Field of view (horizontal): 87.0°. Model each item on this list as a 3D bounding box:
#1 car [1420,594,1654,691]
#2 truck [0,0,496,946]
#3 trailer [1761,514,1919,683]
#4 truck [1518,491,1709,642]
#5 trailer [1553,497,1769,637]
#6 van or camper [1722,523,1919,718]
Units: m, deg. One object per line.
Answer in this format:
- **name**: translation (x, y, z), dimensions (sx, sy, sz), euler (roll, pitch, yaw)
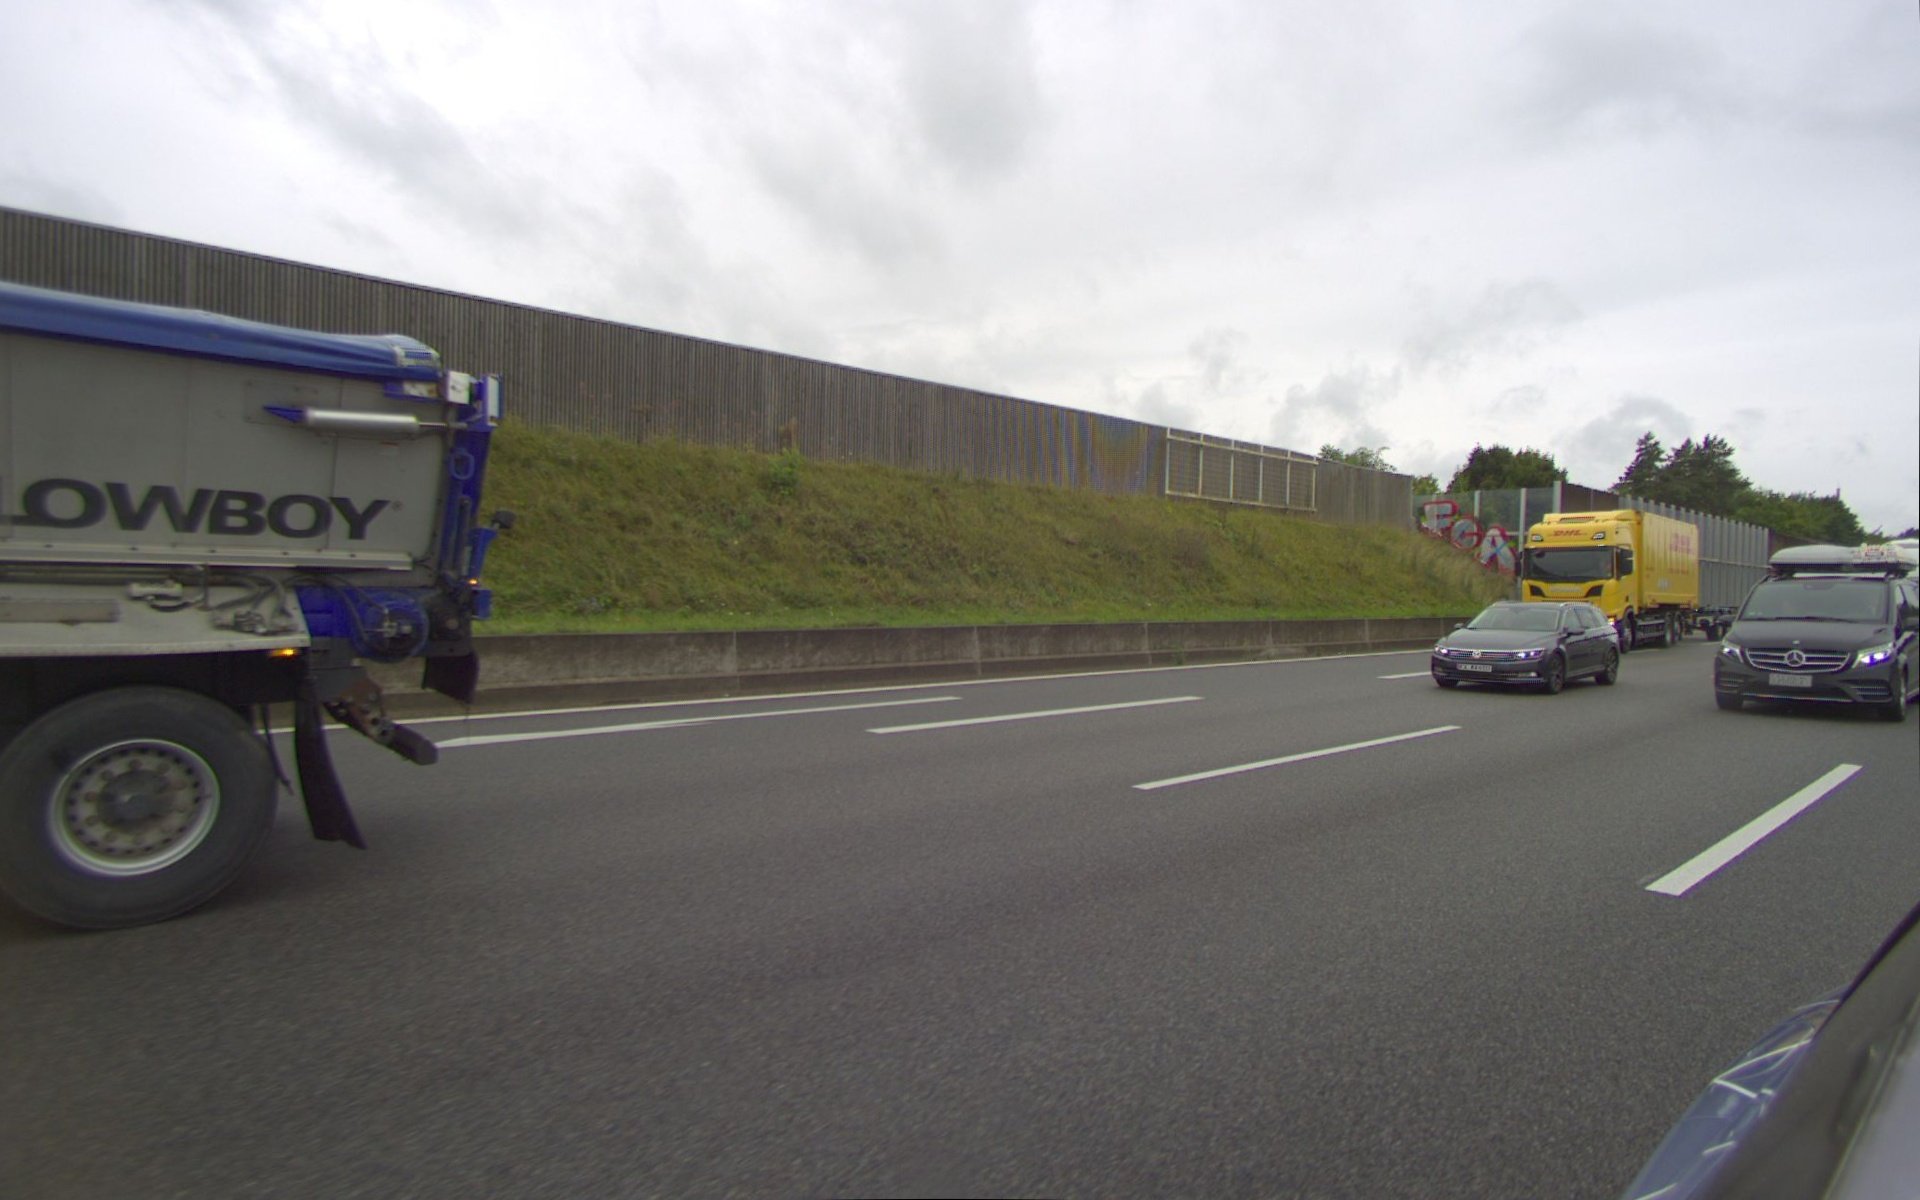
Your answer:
- **car**: translation (10.070, 0.637, 17.469), dimensions (5.197, 1.445, 1.943), euler (0, -1, -41)
- **truck**: translation (-8.044, -0.611, 2.246), dimensions (12.492, 3.999, 2.818), euler (0, 1, -41)
- **trailer**: translation (17.541, -0.037, 18.917), dimensions (7.380, 2.675, 2.726), euler (0, 1, -41)
- **truck**: translation (20.173, -0.922, 30.946), dimensions (9.168, 4.008, 2.689), euler (0, 0, -43)
- **trailer**: translation (24.929, -0.986, 35.289), dimensions (16.402, 4.003, 2.654), euler (0, 0, -43)
- **van or camper**: translation (12.737, 0.240, 14.471), dimensions (5.581, 2.298, 1.893), euler (0, 0, -42)
